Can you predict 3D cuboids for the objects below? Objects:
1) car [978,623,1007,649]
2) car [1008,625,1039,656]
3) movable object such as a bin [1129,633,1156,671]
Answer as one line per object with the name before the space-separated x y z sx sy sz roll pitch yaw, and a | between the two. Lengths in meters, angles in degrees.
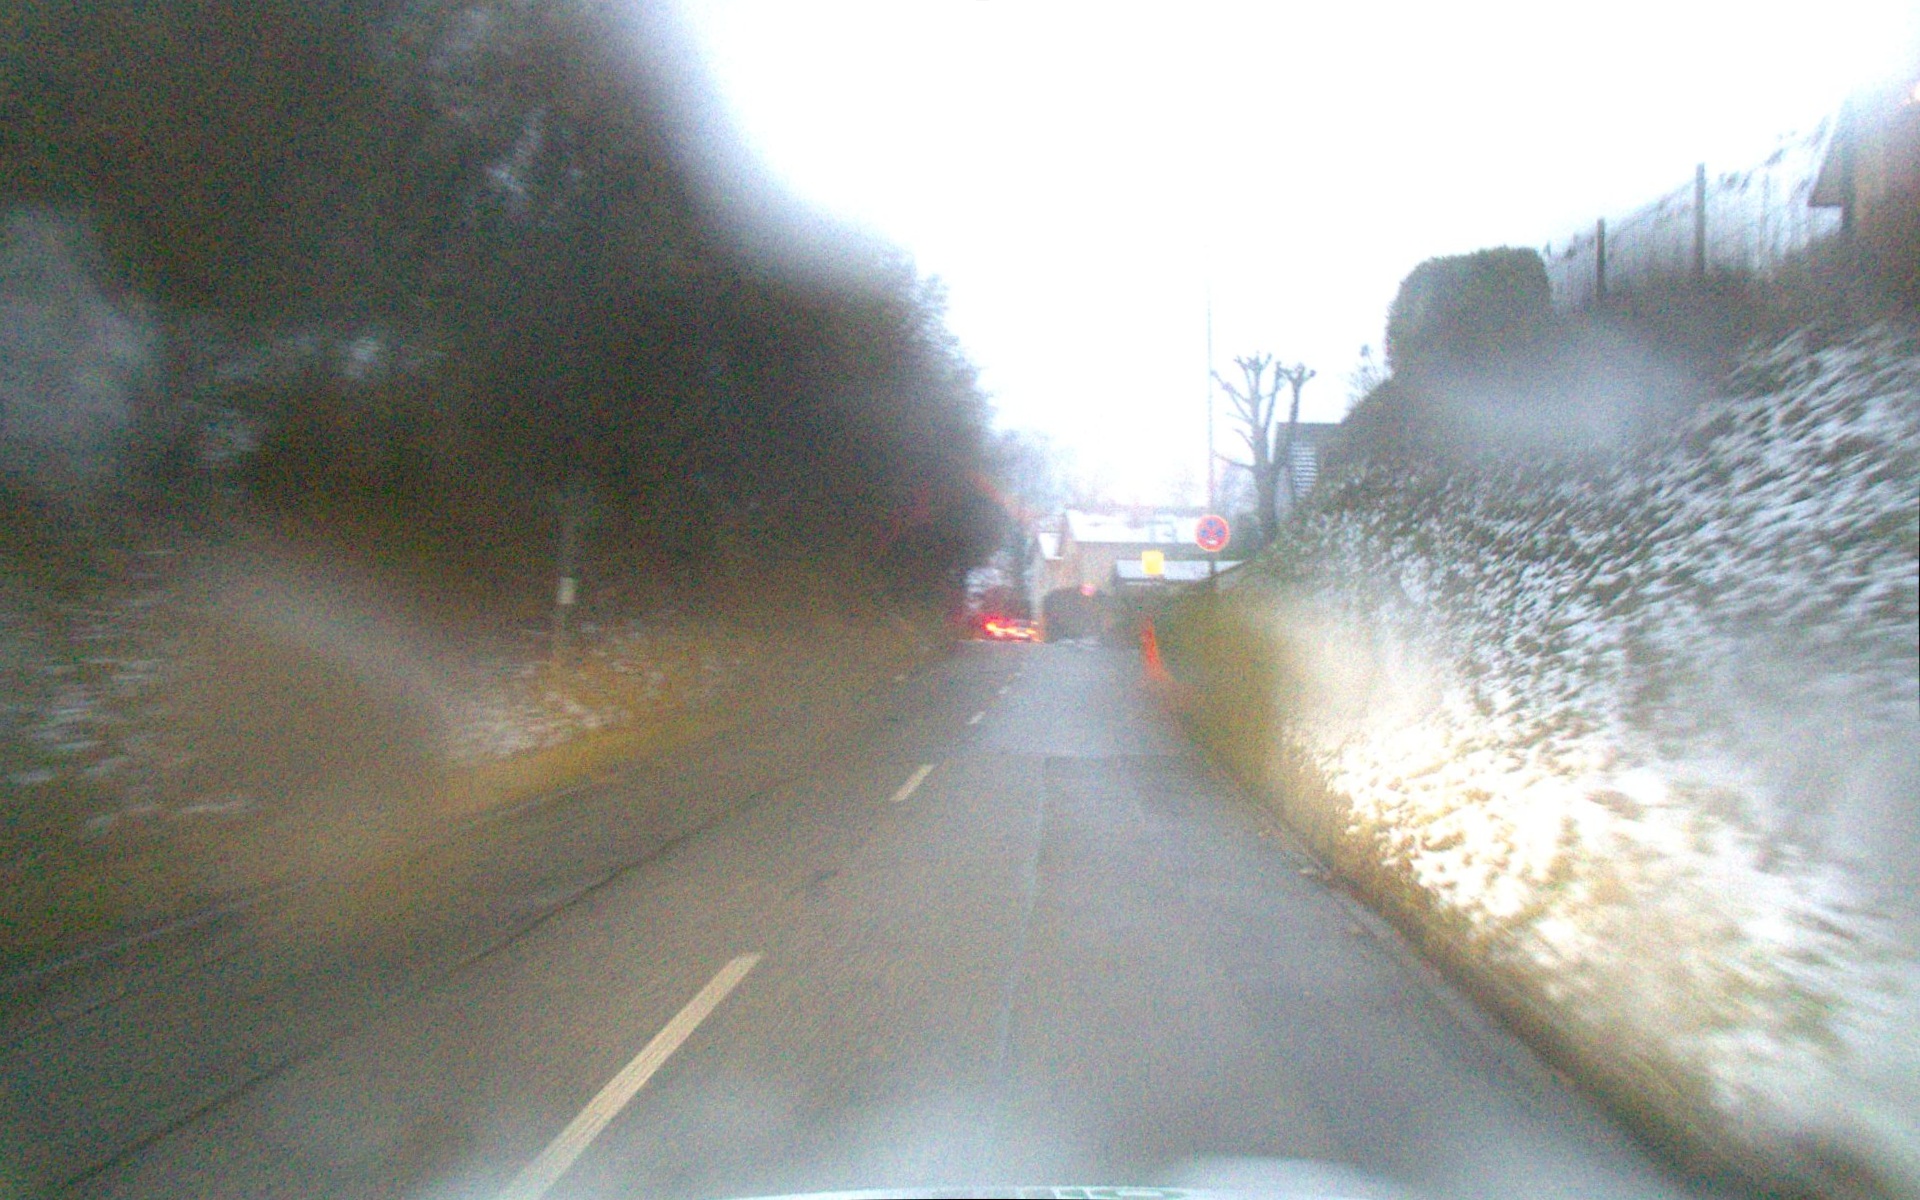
car | 2.336 2.580 118.386 1.767 1.646 4.001 3 -3 4
car | 4.045 2.606 105.145 1.767 1.769 4.001 3 -3 4
movable object such as a bin | 5.083 1.462 46.035 0.670 1.021 0.857 -1 -4 11
